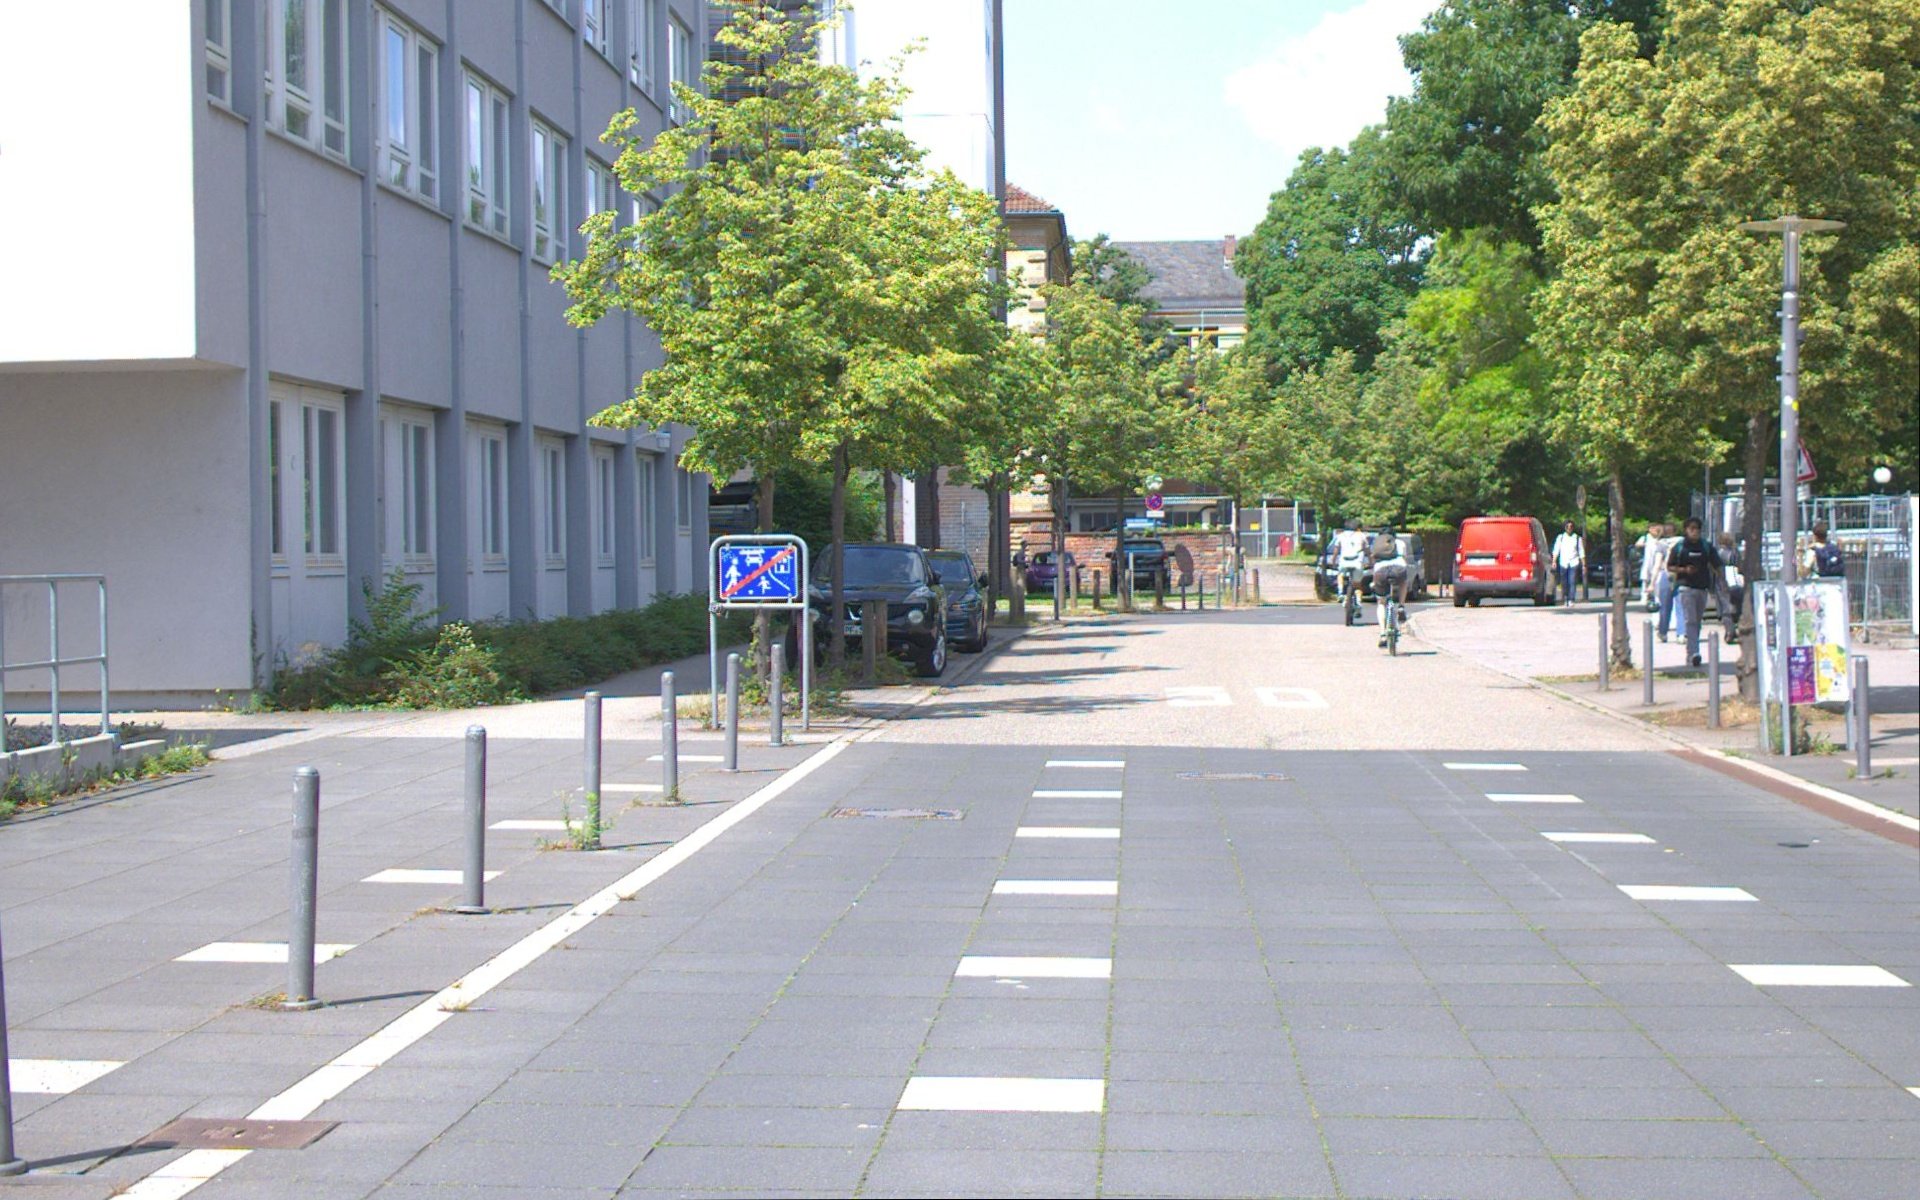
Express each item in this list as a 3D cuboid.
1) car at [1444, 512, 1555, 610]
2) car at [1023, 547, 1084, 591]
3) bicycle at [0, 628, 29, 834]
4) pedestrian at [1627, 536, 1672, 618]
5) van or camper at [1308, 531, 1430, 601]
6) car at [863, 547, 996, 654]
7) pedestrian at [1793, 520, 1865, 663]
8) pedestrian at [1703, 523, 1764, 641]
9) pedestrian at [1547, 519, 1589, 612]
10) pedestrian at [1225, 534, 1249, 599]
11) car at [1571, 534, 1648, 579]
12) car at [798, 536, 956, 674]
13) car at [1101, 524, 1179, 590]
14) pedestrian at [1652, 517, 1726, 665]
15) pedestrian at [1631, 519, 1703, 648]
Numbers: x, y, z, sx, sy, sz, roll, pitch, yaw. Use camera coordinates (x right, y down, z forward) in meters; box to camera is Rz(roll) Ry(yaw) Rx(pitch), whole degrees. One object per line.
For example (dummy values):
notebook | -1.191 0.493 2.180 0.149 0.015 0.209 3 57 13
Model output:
car | 11.015 -0.811 69.990 1.849 1.885 4.888 -1 1 13
car | 2.894 -0.961 105.432 1.817 1.319 3.768 -1 1 2
bicycle | -5.322 0.699 17.238 0.543 1.058 1.898 -1 1 8
pedestrian | 15.411 -0.513 76.863 0.721 1.815 0.630 -1 1 -32
van or camper | 11.541 -0.993 96.669 1.956 1.916 5.414 1 1 23
car | -0.400 -0.026 49.684 1.778 1.456 4.259 0 1 1
pedestrian | 10.279 -0.107 40.676 0.649 1.660 0.904 -1 1 5
pedestrian | 10.676 -0.257 47.454 0.668 1.594 0.985 -1 1 5
pedestrian | 11.722 -0.670 66.282 0.695 1.775 0.786 -1 1 15
pedestrian | 7.598 -0.929 94.194 0.584 1.758 0.911 -1 1 8
car | 22.834 -1.530 120.810 1.762 1.516 4.106 -1 1 24
car | -0.961 0.018 41.574 1.697 1.558 4.068 -1 1 1
car | 5.465 -1.313 105.097 2.175 1.919 5.186 -1 1 1
pedestrian | 8.453 -0.111 39.887 0.641 1.691 0.792 -1 1 -2
pedestrian | 9.857 -0.231 47.933 0.850 1.758 0.716 -1 1 3
